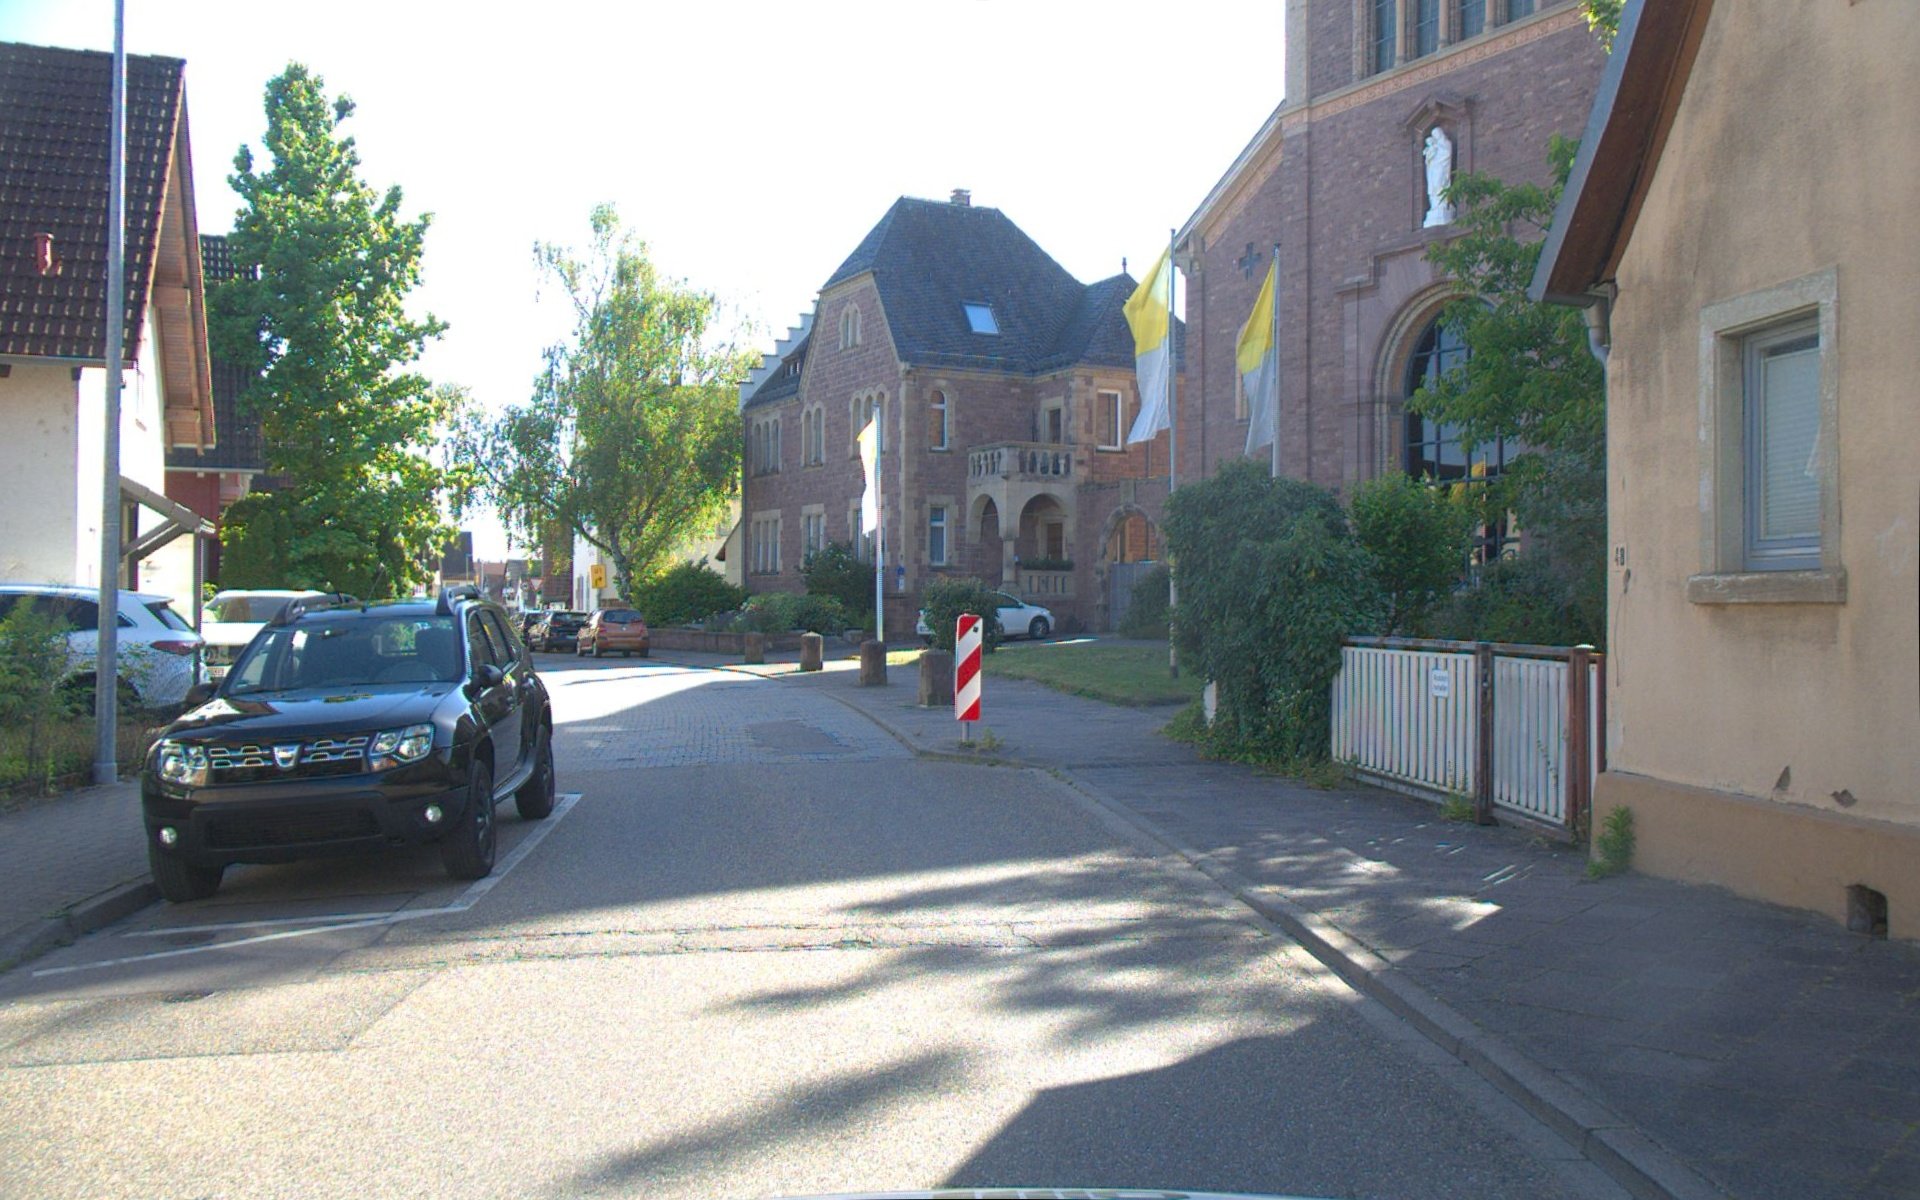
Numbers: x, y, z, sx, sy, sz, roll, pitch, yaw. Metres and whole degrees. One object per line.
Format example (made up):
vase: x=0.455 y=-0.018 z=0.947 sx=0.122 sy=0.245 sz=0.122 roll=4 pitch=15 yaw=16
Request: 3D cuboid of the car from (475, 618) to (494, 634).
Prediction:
car: x=-44.014 y=2.413 z=153.133 sx=1.562 sy=1.468 sz=3.599 roll=0 pitch=-1 yaw=-15

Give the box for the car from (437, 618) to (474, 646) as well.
car: x=-27.484 y=1.729 z=90.235 sx=1.642 sy=1.427 sz=3.878 roll=-1 pitch=0 yaw=-14

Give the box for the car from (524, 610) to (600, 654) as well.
car: x=-13.943 y=1.083 z=57.817 sx=1.784 sy=1.461 sz=4.252 roll=0 pitch=0 yaw=-25

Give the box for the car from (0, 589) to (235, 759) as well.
car: x=-9.530 y=0.702 z=16.678 sx=3.930 sy=1.617 sz=1.987 roll=1 pitch=0 yaw=-22

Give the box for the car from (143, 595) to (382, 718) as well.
car: x=-10.019 y=0.766 z=24.138 sx=1.781 sy=1.623 sz=4.442 roll=0 pitch=0 yaw=-3

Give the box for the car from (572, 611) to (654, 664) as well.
car: x=-10.549 y=1.101 z=50.138 sx=1.627 sy=1.505 sz=3.902 roll=0 pitch=0 yaw=-25

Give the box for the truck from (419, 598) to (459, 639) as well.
truck: x=-37.734 y=1.368 z=119.817 sx=2.228 sy=2.919 sz=5.763 roll=0 pitch=-1 yaw=-12

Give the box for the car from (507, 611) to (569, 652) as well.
car: x=-15.868 y=1.138 z=62.100 sx=1.781 sy=1.461 sz=4.258 roll=0 pitch=0 yaw=-21

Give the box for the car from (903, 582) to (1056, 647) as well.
car: x=0.569 y=0.417 z=46.691 sx=3.859 sy=1.522 sz=1.885 roll=-4 pitch=0 yaw=-31

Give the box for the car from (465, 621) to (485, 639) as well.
car: x=-41.454 y=2.552 z=141.519 sx=1.562 sy=1.468 sz=3.599 roll=0 pitch=-1 yaw=-15

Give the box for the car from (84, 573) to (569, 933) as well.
car: x=-3.719 y=0.785 z=10.576 sx=1.798 sy=1.700 sz=4.346 roll=-3 pitch=0 yaw=-7
